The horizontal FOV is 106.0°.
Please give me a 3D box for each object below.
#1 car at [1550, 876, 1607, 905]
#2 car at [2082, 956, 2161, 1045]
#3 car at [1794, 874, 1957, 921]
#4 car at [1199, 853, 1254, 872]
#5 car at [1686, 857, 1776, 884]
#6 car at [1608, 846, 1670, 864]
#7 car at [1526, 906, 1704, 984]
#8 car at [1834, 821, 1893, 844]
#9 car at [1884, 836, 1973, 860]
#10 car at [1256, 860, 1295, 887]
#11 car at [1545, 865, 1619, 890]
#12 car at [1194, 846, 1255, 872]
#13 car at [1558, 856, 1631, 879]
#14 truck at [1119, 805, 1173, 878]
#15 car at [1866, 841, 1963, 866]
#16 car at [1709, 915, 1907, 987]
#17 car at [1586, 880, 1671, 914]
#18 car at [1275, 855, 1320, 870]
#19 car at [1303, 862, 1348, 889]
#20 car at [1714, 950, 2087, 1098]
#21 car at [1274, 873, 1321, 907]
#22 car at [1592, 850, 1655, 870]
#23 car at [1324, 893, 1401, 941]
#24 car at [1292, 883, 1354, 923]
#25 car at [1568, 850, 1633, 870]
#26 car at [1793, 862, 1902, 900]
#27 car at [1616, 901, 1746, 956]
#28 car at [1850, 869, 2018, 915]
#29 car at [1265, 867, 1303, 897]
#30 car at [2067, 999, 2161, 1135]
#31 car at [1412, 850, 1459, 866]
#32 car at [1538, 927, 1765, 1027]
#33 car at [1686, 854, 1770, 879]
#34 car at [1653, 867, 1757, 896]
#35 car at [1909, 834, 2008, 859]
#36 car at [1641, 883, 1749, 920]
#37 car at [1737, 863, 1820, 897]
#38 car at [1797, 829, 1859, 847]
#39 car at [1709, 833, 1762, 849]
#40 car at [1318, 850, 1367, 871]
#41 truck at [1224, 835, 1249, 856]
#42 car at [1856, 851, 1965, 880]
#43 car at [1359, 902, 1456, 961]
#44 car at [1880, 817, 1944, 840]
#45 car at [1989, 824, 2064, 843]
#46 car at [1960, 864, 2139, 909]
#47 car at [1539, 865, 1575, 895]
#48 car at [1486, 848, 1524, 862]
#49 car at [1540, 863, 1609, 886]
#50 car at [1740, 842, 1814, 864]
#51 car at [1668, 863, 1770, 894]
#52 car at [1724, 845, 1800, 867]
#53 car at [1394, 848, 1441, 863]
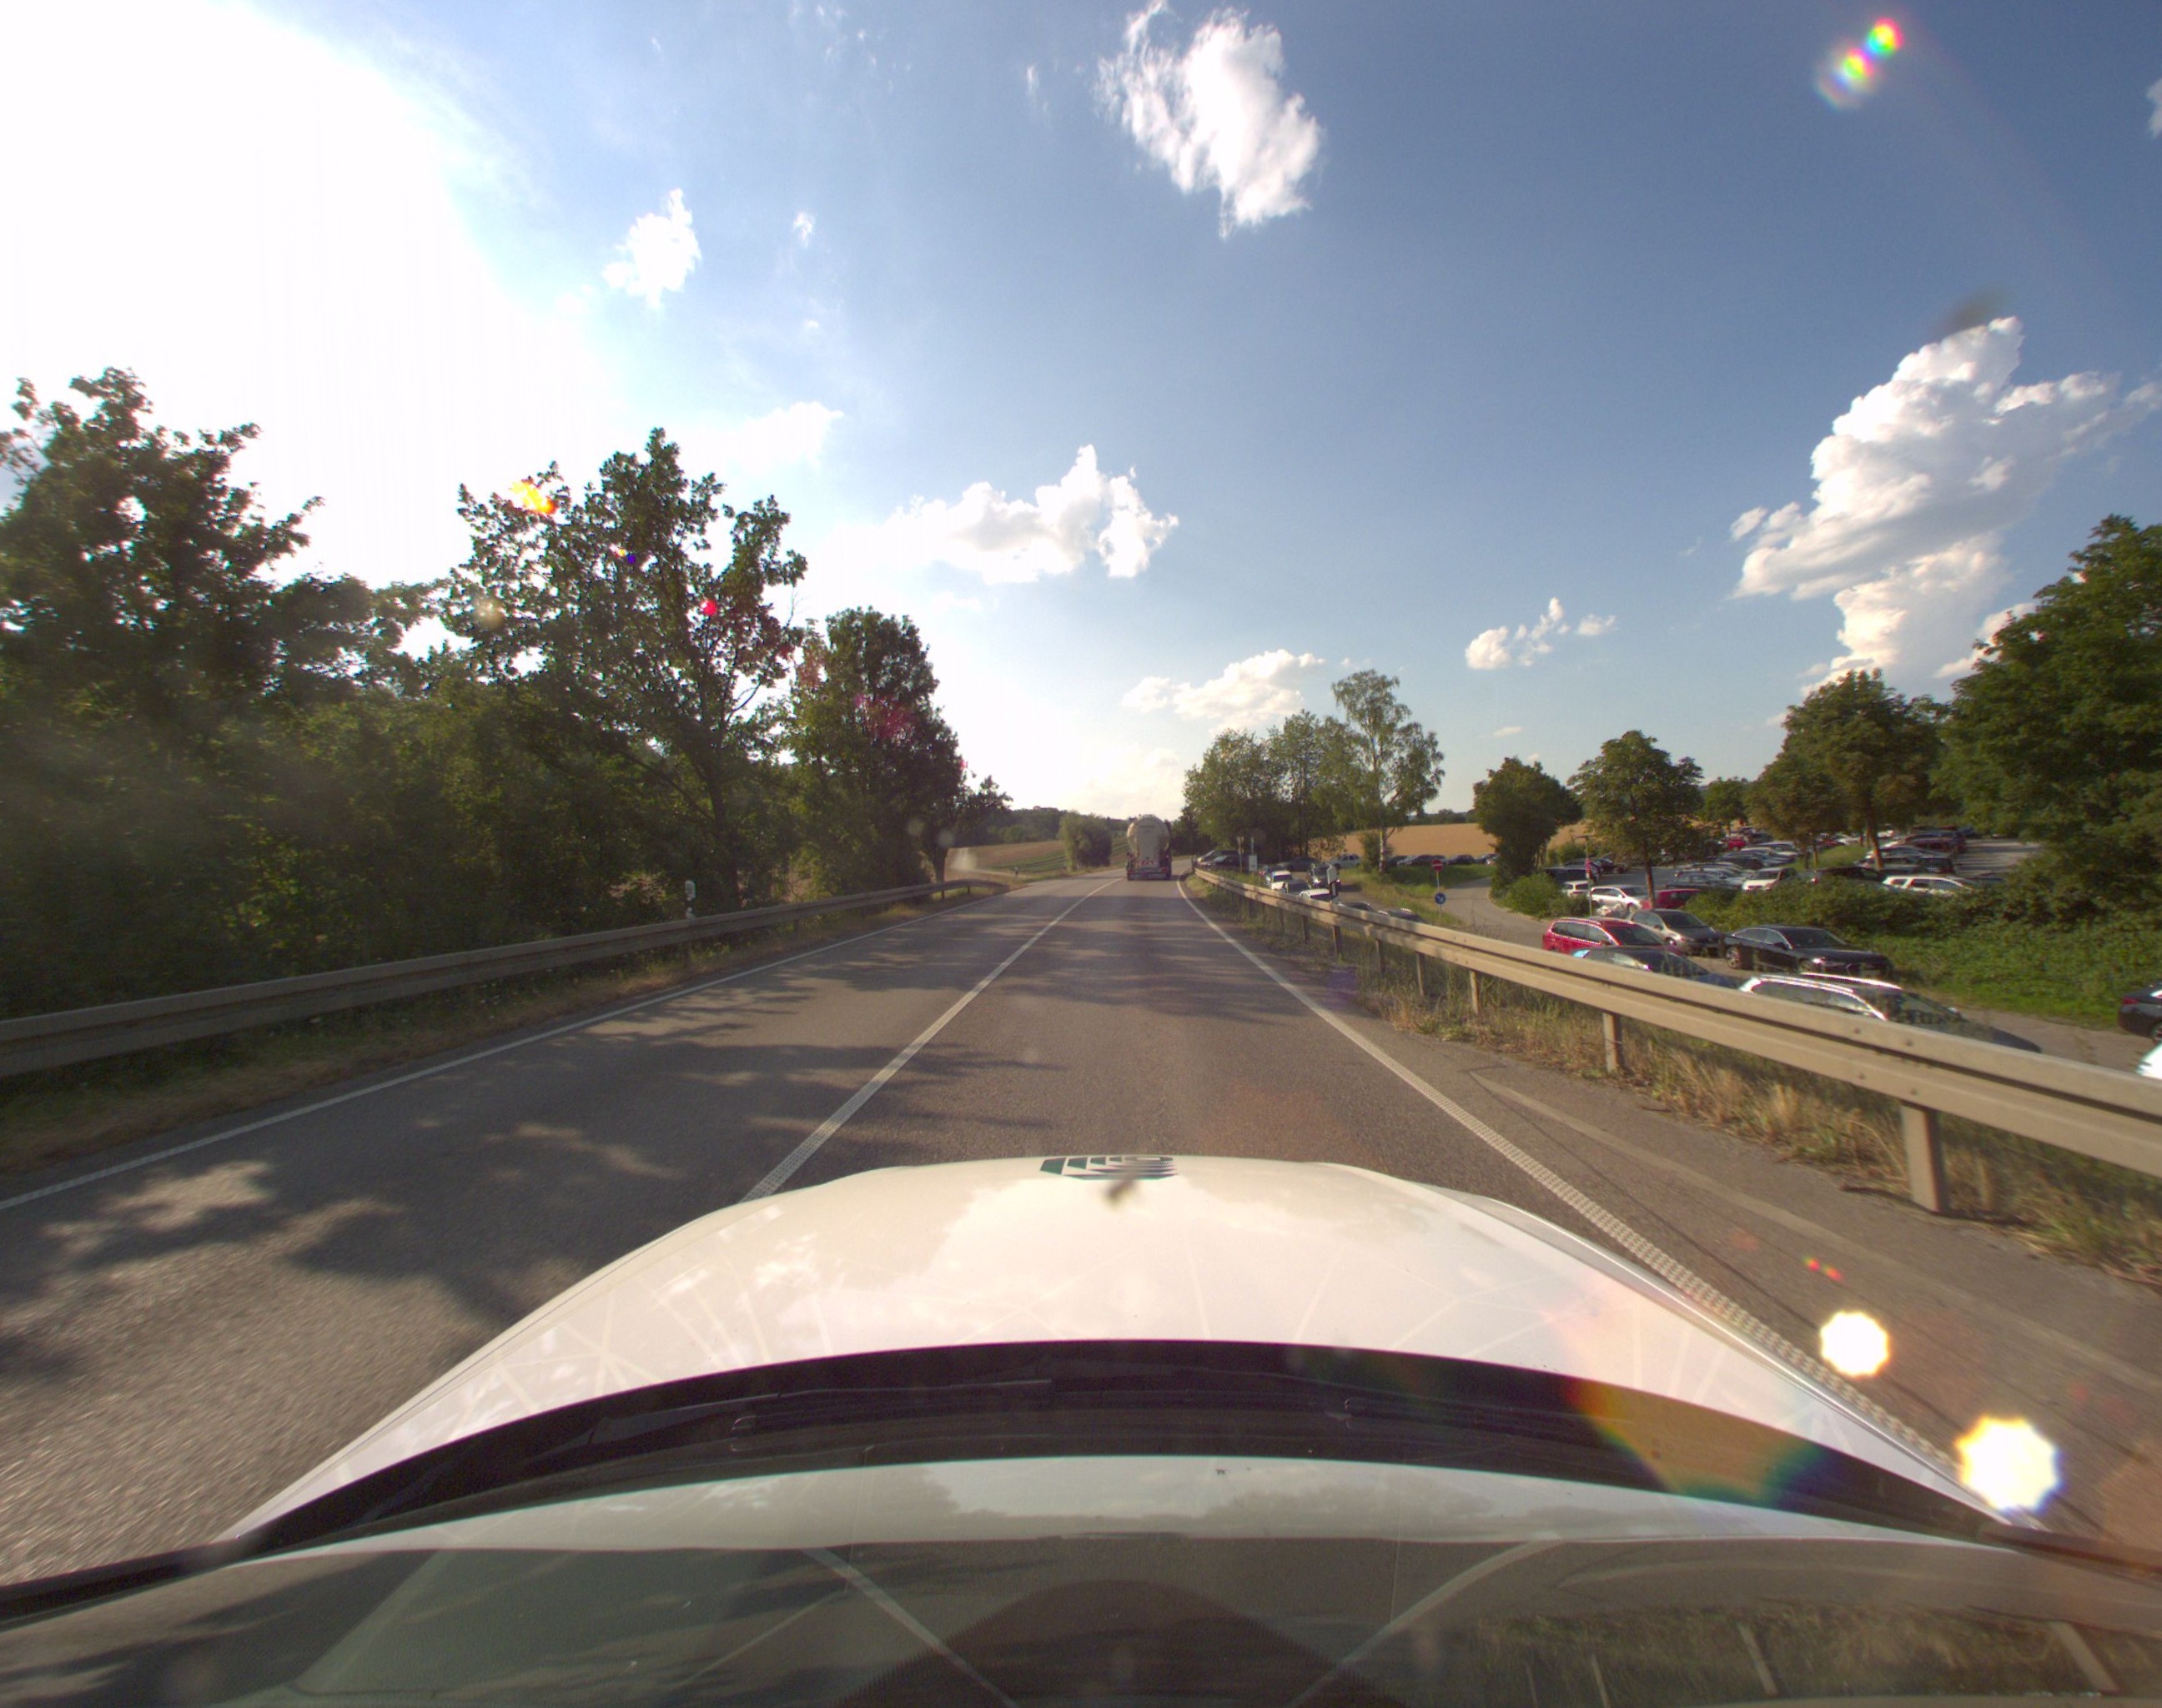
[{"bbox_3d":[30.071,2.170,49.369,1.677,1.486,4.308,-2,1,14],"label":"car"},{"bbox_3d":[21.261,2.846,14.165,1.696,1.398,4.781,-5,0,-2],"label":"car"},{"bbox_3d":[32.933,1.744,33.960,1.801,1.691,4.572,-2,0,-16],"label":"car"},{"bbox_3d":[12.291,0.736,68.680,4.327,1.399,1.709,2,1,-21],"label":"car"},{"bbox_3d":[44.556,1.130,55.906,1.813,1.691,4.543,-2,0,-40],"label":"car"},{"bbox_3d":[53.840,0.108,78.633,1.813,1.691,4.542,-2,0,-40],"label":"car"},{"bbox_3d":[16.743,2.783,25.947,1.890,1.686,5.075,-3,1,-7],"label":"car"},{"bbox_3d":[93.932,-2.574,97.777,6.076,2.308,2.486,-3,-1,-18],"label":"car"},{"bbox_3d":[66.237,-0.445,63.738,1.810,1.691,4.549,-2,0,-32],"label":"car"},{"bbox_3d":[14.250,1.395,59.865,1.884,1.559,4.788,-5,2,4],"label":"car"},{"bbox_3d":[36.637,1.699,59.707,4.537,1.691,1.815,-2,0,30],"label":"car"},{"bbox_3d":[12.713,0.406,72.511,5.115,1.943,1.978,3,1,5],"label":"car"},{"bbox_3d":[41.252,1.086,65.502,1.813,1.691,4.542,-2,0,-40],"label":"car"},{"bbox_3d":[4.490,-0.724,53.405,2.877,4.142,13.197,-1,0,7],"label":"truck"},{"bbox_3d":[59.336,-0.022,58.064,1.810,1.691,4.549,-2,0,-32],"label":"car"},{"bbox_3d":[21.280,2.775,24.167,1.694,1.398,4.788,-5,0,3],"label":"car"},{"bbox_3d":[29.162,2.246,43.517,1.792,1.543,3.999,-2,0,-1],"label":"car"},{"bbox_3d":[20.301,0.773,76.387,3.730,1.441,1.800,0,0,-19],"label":"car"},{"bbox_3d":[16.555,1.417,55.419,1.883,1.675,4.788,-2,0,4],"label":"car"},{"bbox_3d":[15.116,3.010,15.514,1.892,1.559,4.768,-5,2,-9],"label":"car"},{"bbox_3d":[13.048,2.144,49.361,1.883,1.559,4.791,-5,2,6],"label":"car"},{"bbox_3d":[50.944,0.574,76.525,1.813,1.691,4.542,-2,0,-40],"label":"car"},{"bbox_3d":[12.854,2.819,37.487,1.885,1.559,4.784,-5,2,1],"label":"car"},{"bbox_3d":[12.778,2.557,43.361,1.885,1.559,4.784,-5,2,1],"label":"car"},{"bbox_3d":[46.647,0.574,73.165,1.813,1.691,4.542,-2,0,-40],"label":"car"},{"bbox_3d":[39.504,1.361,42.012,4.131,1.753,1.814,-2,0,-6],"label":"car"},{"bbox_3d":[21.815,2.653,29.842,1.695,1.398,4.101,-5,2,1],"label":"car"},{"bbox_3d":[35.801,1.524,34.359,1.801,1.691,4.572,-2,0,-16],"label":"car"},{"bbox_3d":[13.565,1.845,54.682,1.881,1.559,4.795,-5,2,9],"label":"car"},{"bbox_3d":[15.980,3.083,9.935,1.891,1.559,4.769,-2,2,-8],"label":"car"},{"bbox_3d":[36.807,0.395,84.563,4.656,1.507,1.981,-1,0,-29],"label":"car"},{"bbox_3d":[14.236,2.986,20.760,1.892,1.559,4.767,-5,1,-9],"label":"car"},{"bbox_3d":[47.418,0.946,59.789,1.813,1.691,4.543,-2,0,-40],"label":"car"},{"bbox_3d":[36.911,1.570,48.315,1.806,1.543,4.559,-2,0,-25],"label":"car"},{"bbox_3d":[62.841,-0.522,58.395,1.810,1.691,4.549,-2,0,-32],"label":"car"},{"bbox_3d":[28.991,2.249,38.559,3.738,1.543,1.660,-2,0,12],"label":"car"},{"bbox_3d":[38.817,1.436,45.327,4.149,1.671,1.644,-2,0,-19],"label":"car"},{"bbox_3d":[78.365,-1.636,85.485,1.813,1.691,4.542,-2,0,-40],"label":"car"},{"bbox_3d":[76.858,-1.491,95.626,1.813,1.691,4.542,-2,0,-40],"label":"car"},{"bbox_3d":[25.174,0.614,78.399,4.219,1.747,1.799,-3,1,-21],"label":"car"},{"bbox_3d":[33.996,-1.993,177.560,3.157,4.227,13.238,-2,1,19],"label":"truck"},{"bbox_3d":[52.863,0.738,51.988,1.810,1.691,4.549,-2,0,-32],"label":"car"},{"bbox_3d":[12.772,2.985,32.191,1.885,1.559,4.784,-5,2,1],"label":"car"},{"bbox_3d":[94.287,-2.906,92.396,5.656,2.243,2.323,-3,-1,-12],"label":"car"},{"bbox_3d":[92.539,-2.010,79.811,4.538,1.691,1.815,-2,0,42],"label":"car"},{"bbox_3d":[41.142,1.319,34.766,1.805,1.691,4.563,-2,0,-22],"label":"car"},{"bbox_3d":[32.640,1.772,55.933,1.781,1.842,4.624,-2,0,27],"label":"car"},{"bbox_3d":[45.239,0.120,86.911,3.944,1.441,1.794,0,0,-29],"label":"car"},{"bbox_3d":[38.908,1.642,64.271,4.537,1.691,1.815,-2,0,30],"label":"car"},{"bbox_3d":[59.722,-0.067,69.911,1.813,1.691,4.542,-2,0,-40],"label":"car"},{"bbox_3d":[38.678,1.438,49.527,1.806,1.691,4.559,-2,0,-25],"label":"car"},{"bbox_3d":[56.007,0.207,67.015,1.813,1.691,4.542,-2,0,-40],"label":"car"},{"bbox_3d":[32.506,0.168,78.686,4.604,1.441,1.794,0,0,-30],"label":"car"}]
